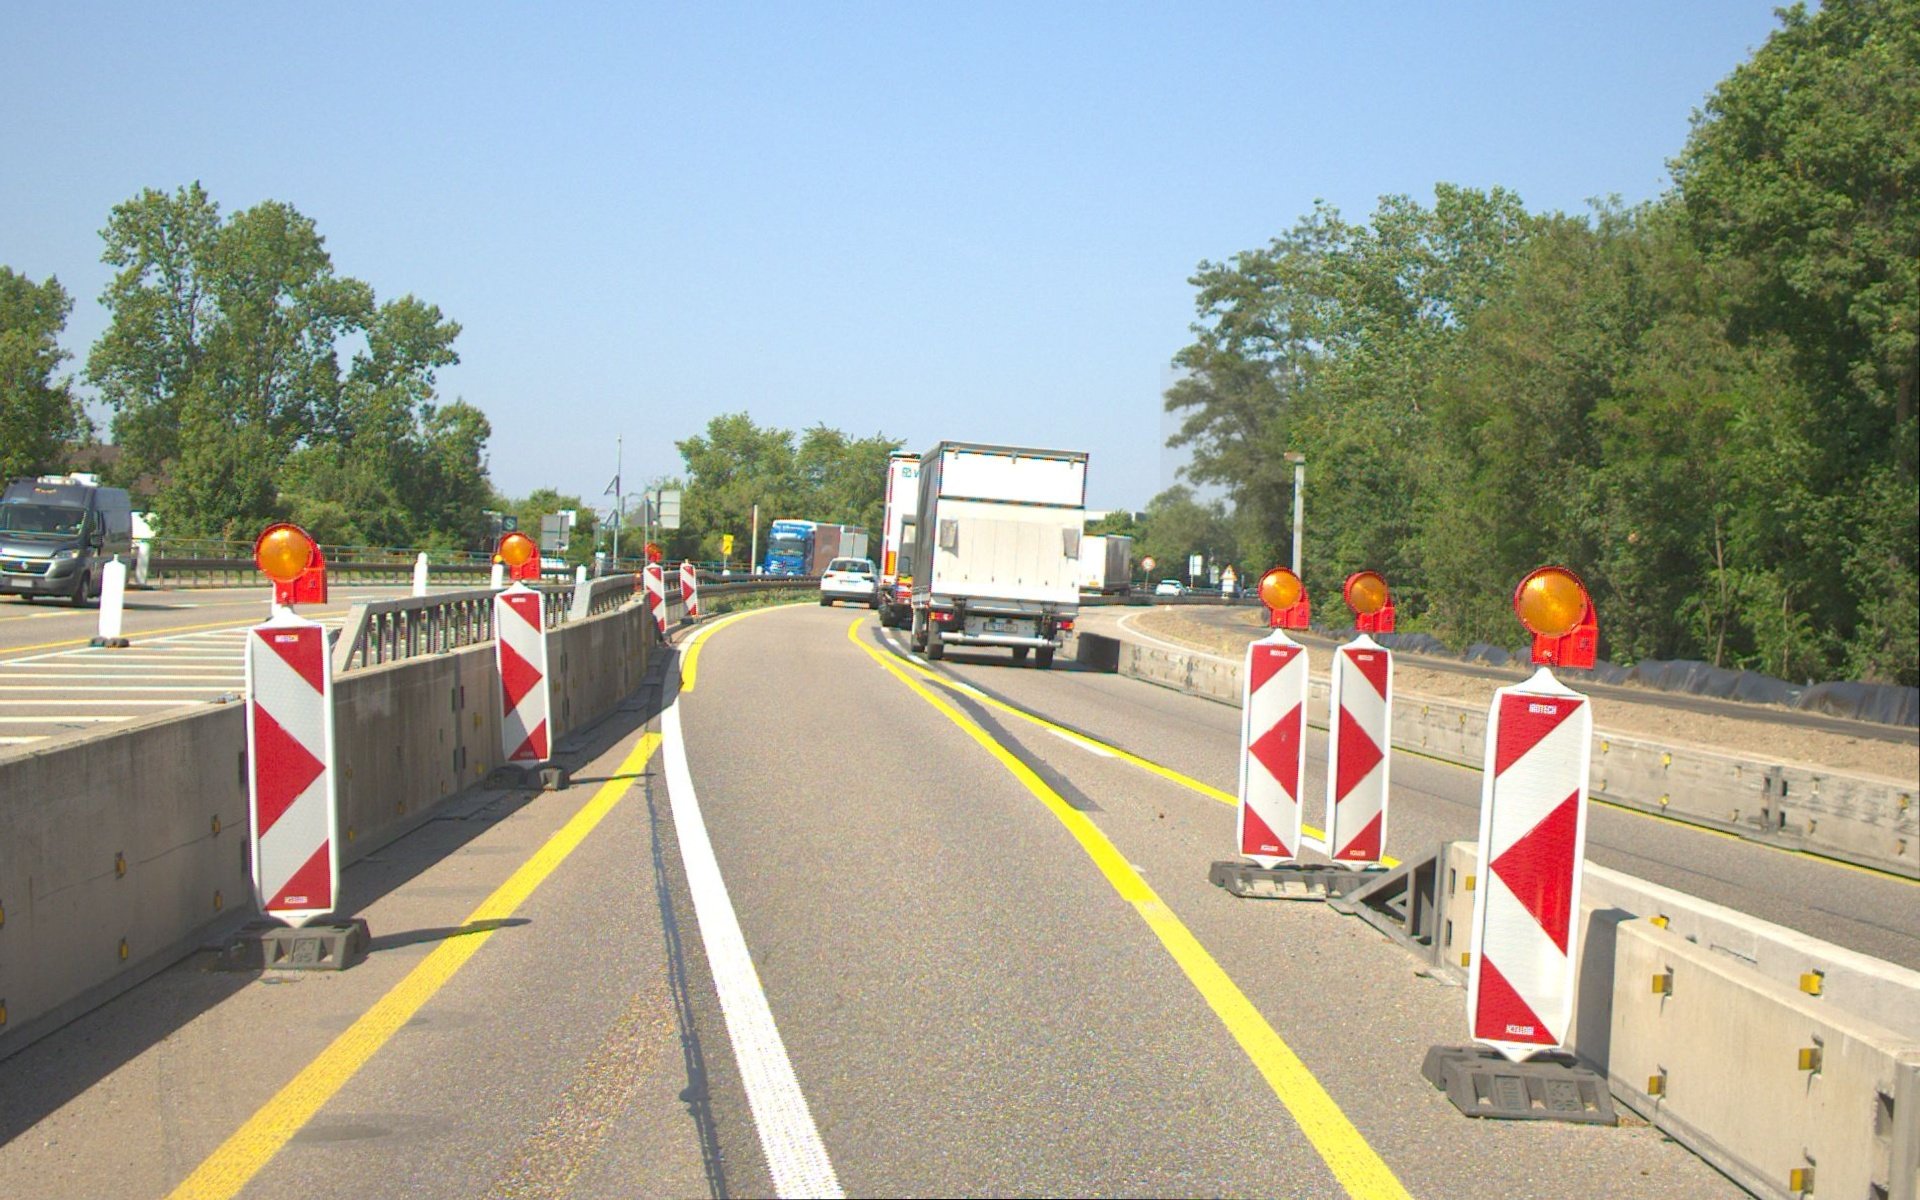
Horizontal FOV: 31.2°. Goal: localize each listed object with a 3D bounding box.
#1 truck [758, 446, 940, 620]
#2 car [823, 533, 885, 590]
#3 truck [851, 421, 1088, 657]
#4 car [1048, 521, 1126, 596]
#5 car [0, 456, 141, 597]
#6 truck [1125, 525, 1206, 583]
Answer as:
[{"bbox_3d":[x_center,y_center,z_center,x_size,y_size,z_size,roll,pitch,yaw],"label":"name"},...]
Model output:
[{"bbox_3d":[-2.668,-1.549,80.054,3.387,3.761,7.235,1,1,-8],"label":"truck"},{"bbox_3d":[-3.454,-1.270,111.618,1.816,1.770,4.001,2,1,-4],"label":"car"},{"bbox_3d":[0.038,-1.008,55.737,2.633,3.416,7.235,3,1,-8],"label":"truck"},{"bbox_3d":[7.585,-2.472,203.504,4.208,4.237,10.660,2,1,4],"label":"car"},{"bbox_3d":[-18.208,-1.474,69.225,2.146,2.651,5.546,3,1,-2],"label":"car"},{"bbox_3d":[15.631,-3.459,260.835,4.223,4.252,10.234,2,1,14],"label":"truck"}]
